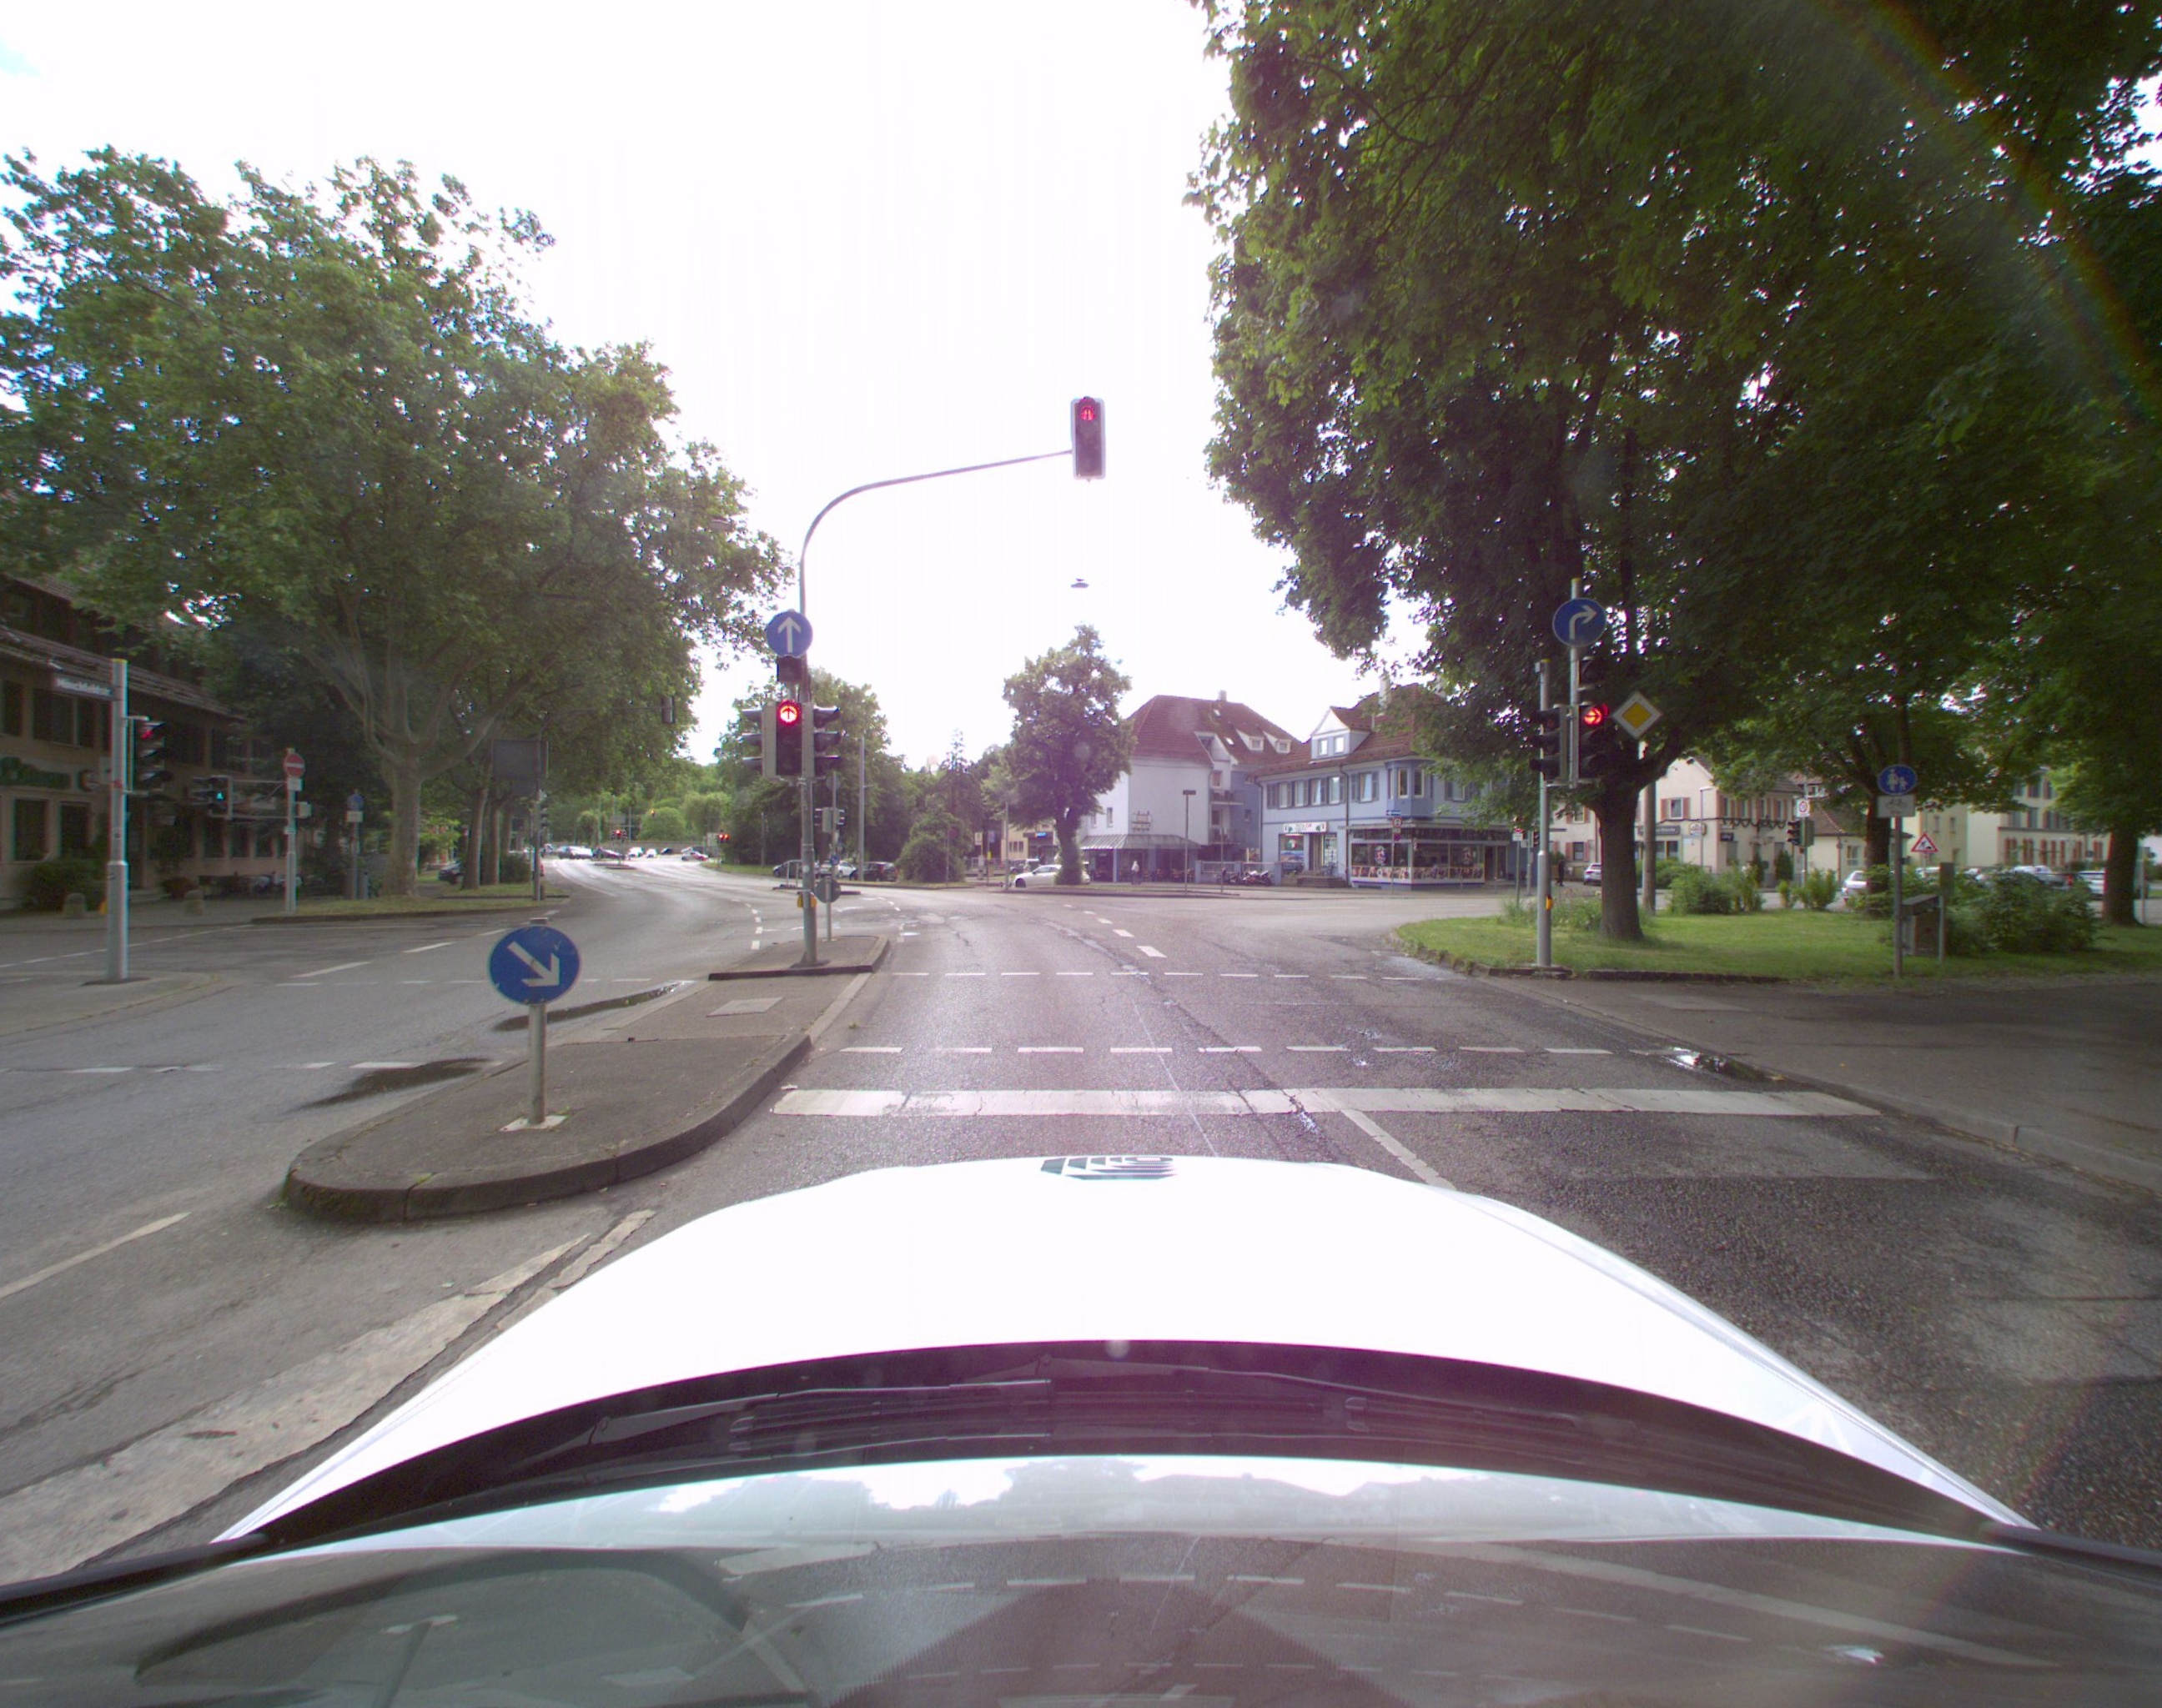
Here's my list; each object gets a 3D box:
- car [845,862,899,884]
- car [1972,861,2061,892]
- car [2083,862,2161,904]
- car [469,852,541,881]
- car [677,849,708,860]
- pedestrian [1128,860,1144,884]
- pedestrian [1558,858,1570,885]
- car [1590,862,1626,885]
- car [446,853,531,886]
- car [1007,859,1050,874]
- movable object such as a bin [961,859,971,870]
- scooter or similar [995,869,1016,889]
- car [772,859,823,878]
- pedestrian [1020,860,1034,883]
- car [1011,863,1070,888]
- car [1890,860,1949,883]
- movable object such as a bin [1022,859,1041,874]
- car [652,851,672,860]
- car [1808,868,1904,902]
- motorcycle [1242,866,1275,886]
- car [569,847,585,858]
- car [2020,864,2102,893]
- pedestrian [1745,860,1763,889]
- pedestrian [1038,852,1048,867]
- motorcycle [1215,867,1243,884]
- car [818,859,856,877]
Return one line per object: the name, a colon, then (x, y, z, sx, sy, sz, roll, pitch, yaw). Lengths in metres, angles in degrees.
car: (-13.911, 1.266, 54.206, 3.549, 1.394, 1.481, 0, -1, 34)
car: (42.213, 0.975, 36.755, 3.510, 1.321, 1.549, 0, 0, -21)
car: (52.828, 1.434, 41.129, 4.004, 2.014, 1.770, 0, -1, -23)
car: (-35.488, 0.756, 50.282, 3.461, 1.742, 1.557, 0, -1, -31)
car: (-60.386, 0.052, 126.583, 3.989, 1.783, 1.992, 0, 0, -12)
pedestrian: (3.550, 1.149, 52.592, 0.759, 1.545, 0.682, -1, -1, 41)
pedestrian: (27.630, 1.003, 46.593, 0.454, 1.517, 0.590, -1, -1, 21)
car: (32.599, 1.183, 50.343, 1.481, 1.369, 3.198, -1, -1, 40)
car: (-31.005, 0.783, 42.717, 3.461, 1.641, 1.557, 0, -1, -31)
car: (-4.886, 1.134, 76.157, 3.752, 1.345, 1.422, 0, 0, -25)
movable object such as a bin: (-12.227, 1.119, 86.640, 0.953, 1.115, 0.381, 0, -1, -19)
scooter or similar: (-3.981, 1.289, 42.882, 0.413, 1.011, 1.575, -1, -1, 22)
car: (-22.443, 1.114, 64.485, 3.520, 1.464, 1.591, 0, 0, 14)
pedestrian: (-3.761, 1.216, 57.082, 0.699, 1.545, 0.682, -1, -1, 42)
car: (-2.312, 1.201, 46.240, 3.134, 1.354, 1.448, 0, -1, 36)
car: (55.112, 1.125, 53.533, 4.007, 1.420, 1.544, 0, 0, -26)
movable object such as a bin: (-4.528, 1.133, 74.249, 1.447, 1.409, 0.959, 0, -1, -25)
car: (-95.508, 0.436, 185.600, 4.011, 2.014, 1.981, 0, -1, -29)
car: (31.960, 1.250, 33.571, 3.511, 1.321, 1.549, 0, 0, -22)
motorcycle: (10.531, 1.286, 48.265, 1.777, 1.121, 0.699, 0, -1, 40)
car: (-66.353, -0.235, 107.208, 1.440, 1.416, 2.838, 0, -1, -39)
car: (47.000, 1.165, 39.062, 3.511, 1.321, 1.549, 0, 0, -22)
pedestrian: (38.633, 1.193, 46.750, 0.611, 1.649, 0.606, 0, -1, -27)
pedestrian: (-3.754, 0.558, 80.731, 0.681, 1.545, 0.701, 0, -1, -32)
motorcycle: (9.110, 1.313, 50.079, 0.699, 1.064, 1.617, 0, -1, -44)
car: (-20.084, 1.130, 67.187, 1.534, 1.464, 3.407, 0, 0, 13)
